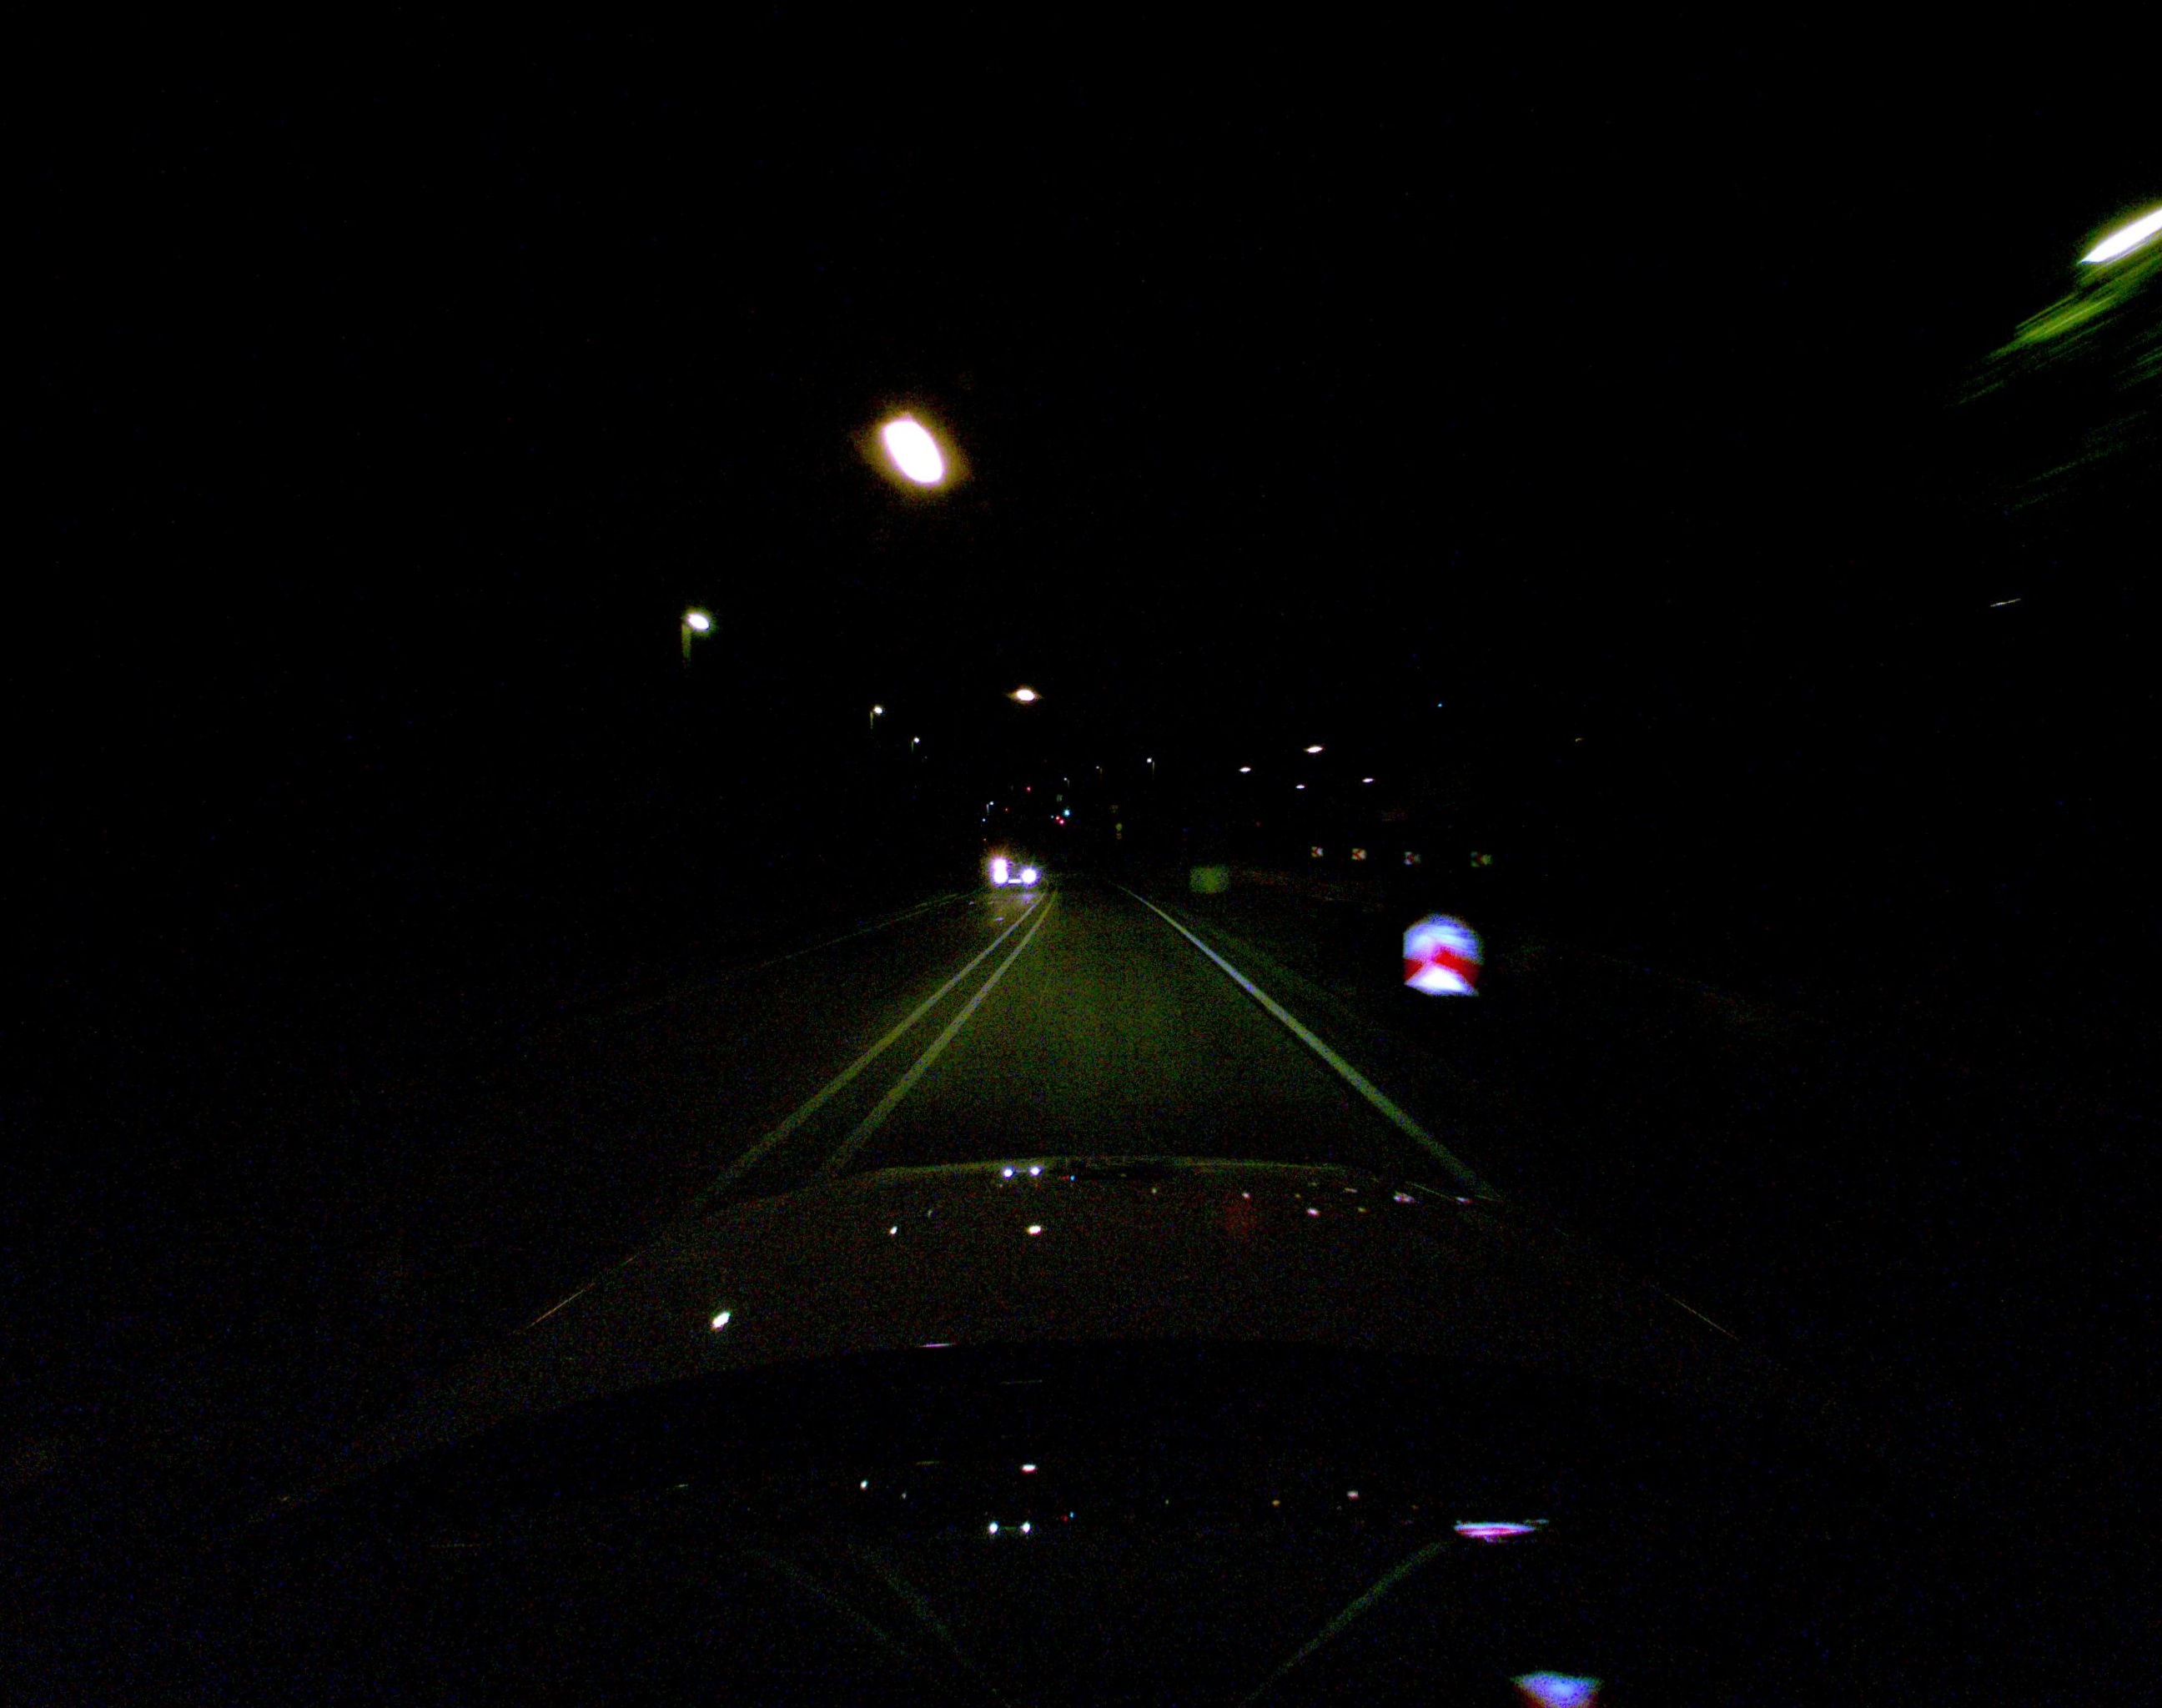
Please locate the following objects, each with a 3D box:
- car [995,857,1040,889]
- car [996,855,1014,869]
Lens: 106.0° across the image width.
[{"bbox_3d":[-2.918,0.894,38.427,1.782,1.447,4.171,0,-1,0],"label":"car"},{"bbox_3d":[-9.146,0.954,97.889,1.858,1.510,3.987,-1,0,-9],"label":"car"}]
